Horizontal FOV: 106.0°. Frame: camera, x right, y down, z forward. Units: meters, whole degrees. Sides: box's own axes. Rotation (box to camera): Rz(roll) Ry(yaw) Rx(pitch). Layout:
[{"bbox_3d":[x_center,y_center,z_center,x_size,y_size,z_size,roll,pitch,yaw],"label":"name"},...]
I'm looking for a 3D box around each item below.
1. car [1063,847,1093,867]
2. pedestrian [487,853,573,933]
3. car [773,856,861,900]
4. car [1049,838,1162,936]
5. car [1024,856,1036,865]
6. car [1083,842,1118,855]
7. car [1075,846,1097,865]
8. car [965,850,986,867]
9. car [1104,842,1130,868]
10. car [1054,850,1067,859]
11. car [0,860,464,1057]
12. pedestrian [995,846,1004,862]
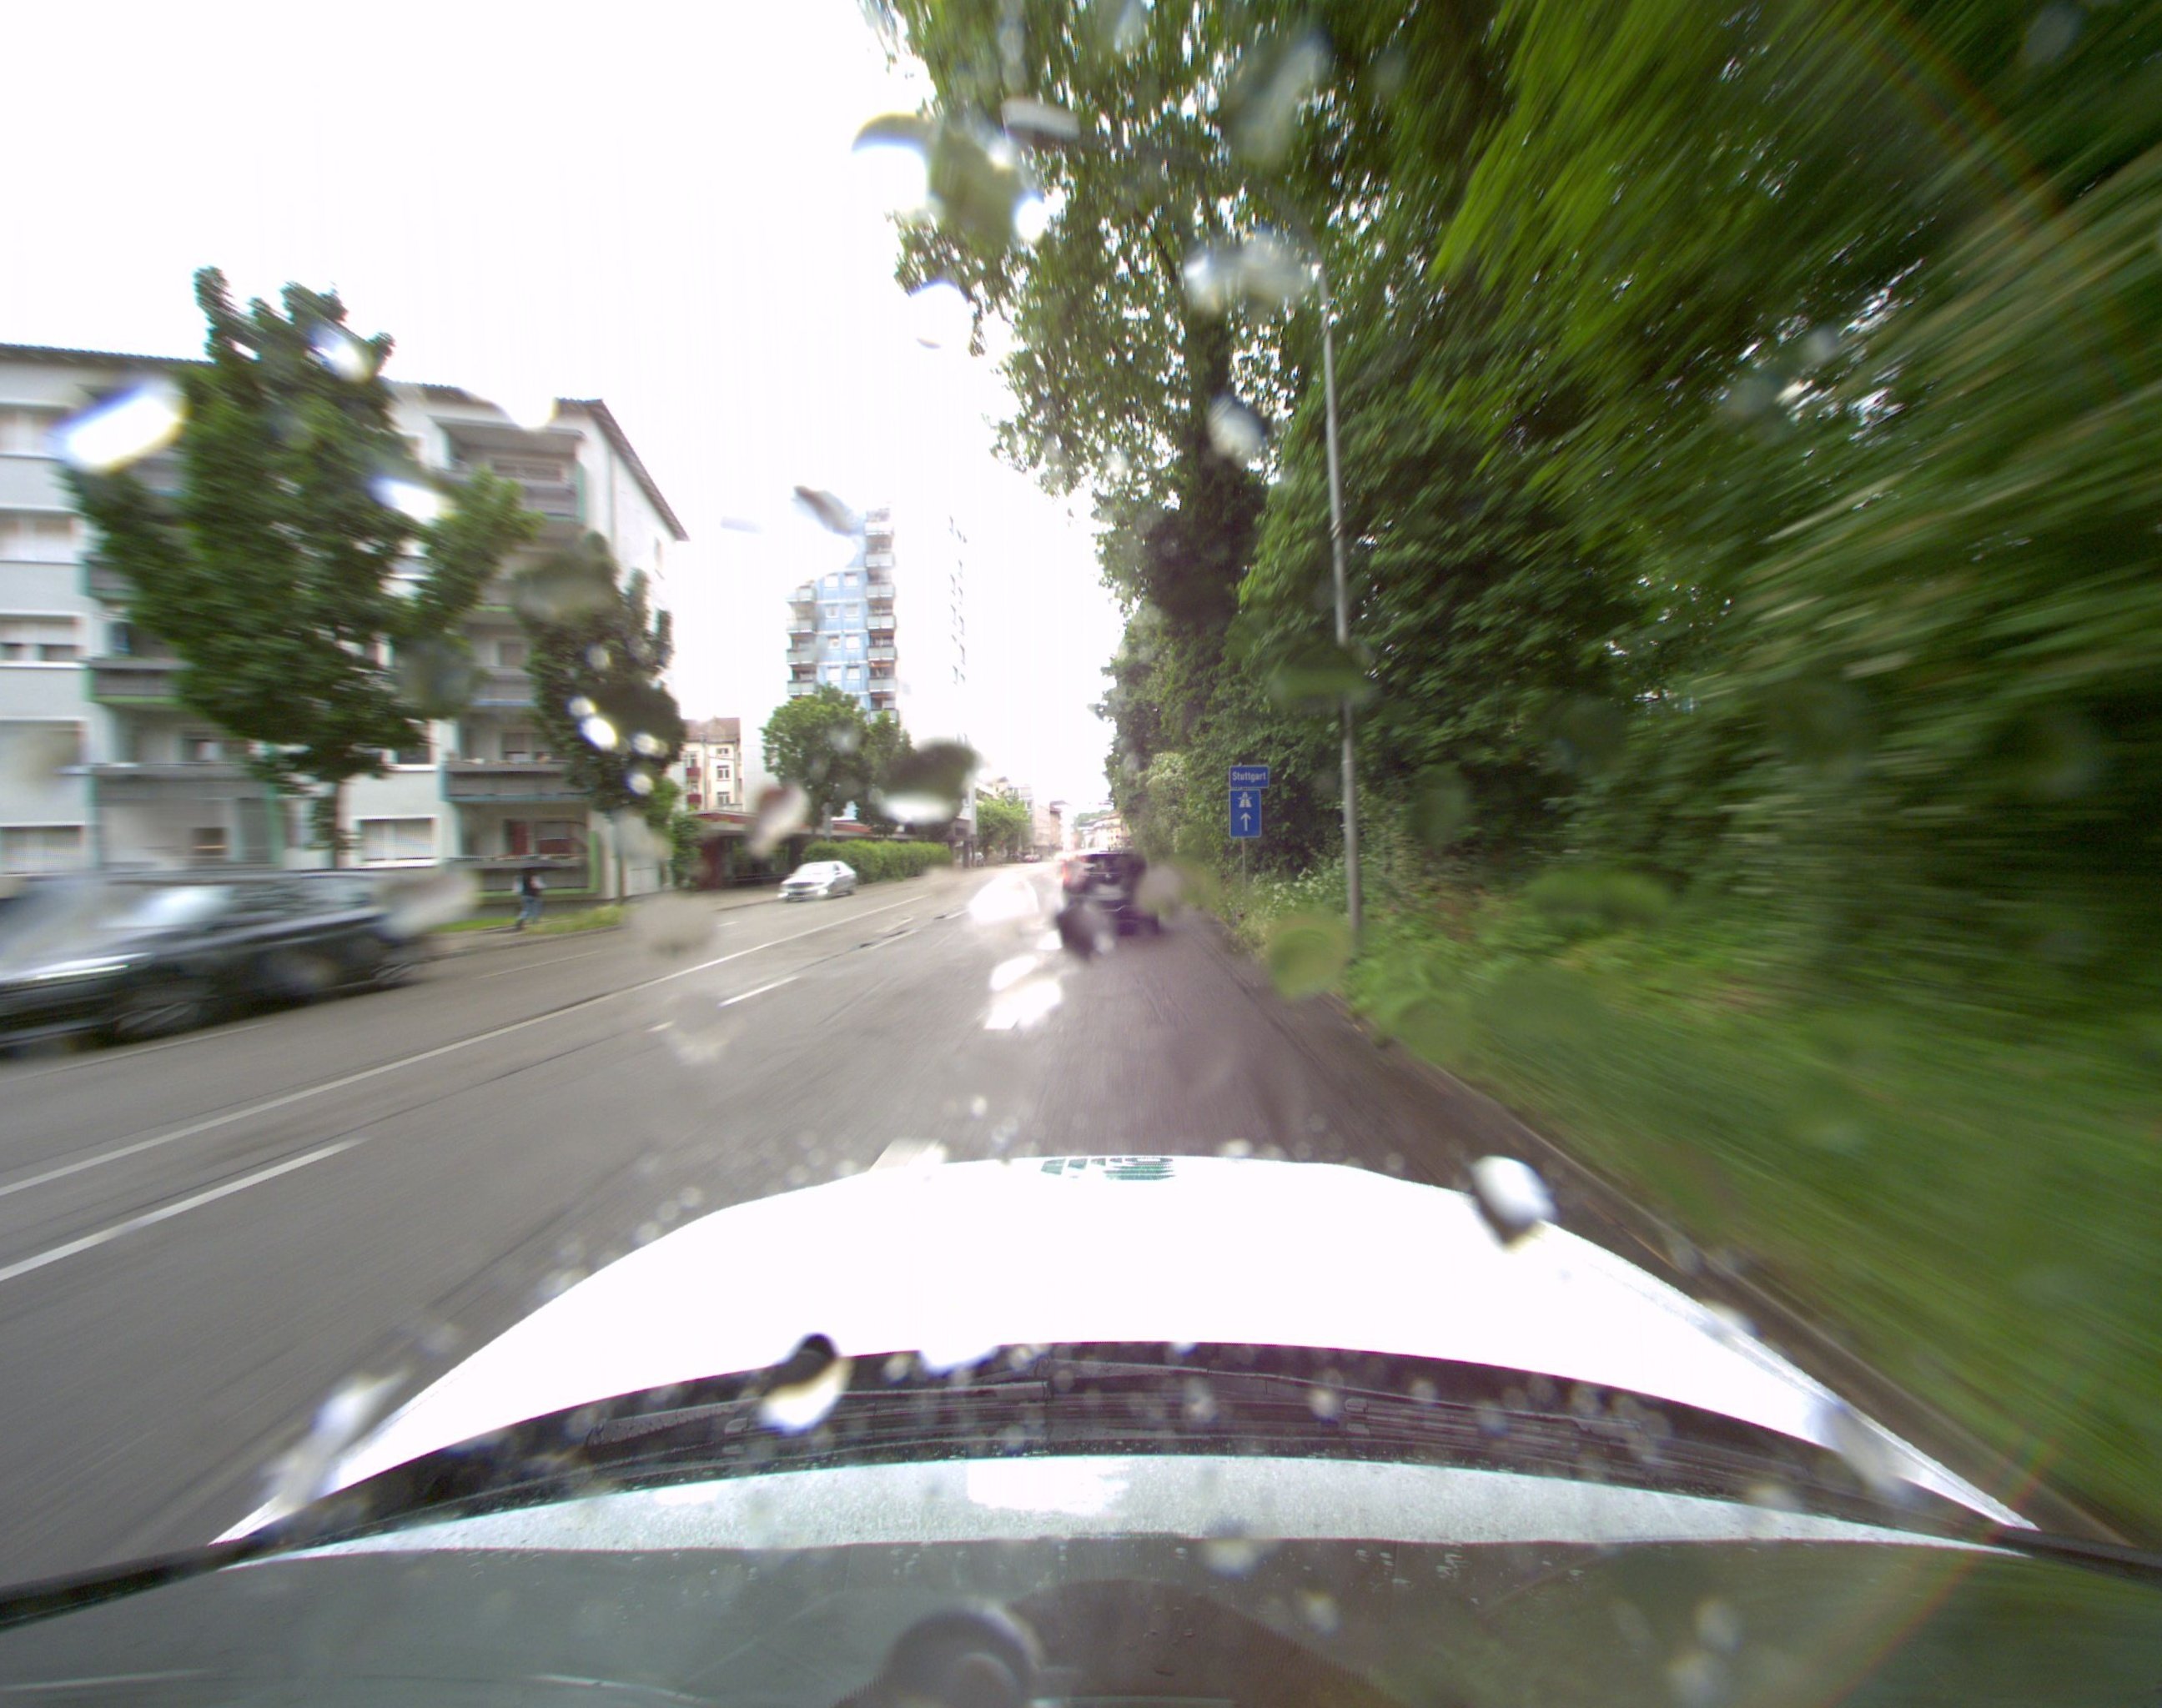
[{"bbox_3d":[-0.204,0.188,63.421,2.058,1.464,4.590,-2,0,3],"label":"car"},{"bbox_3d":[-13.100,0.899,19.418,1.131,1.804,1.262,-2,0,-2],"label":"pedestrian"},{"bbox_3d":[-9.940,0.867,31.107,1.869,1.390,4.624,-4,1,-2],"label":"car"},{"bbox_3d":[0.483,0.541,16.434,1.953,1.652,4.001,-2,1,1],"label":"car"},{"bbox_3d":[-9.038,1.067,144.547,1.667,1.478,3.608,-3,0,1],"label":"car"},{"bbox_3d":[2.671,-0.769,112.524,4.835,1.750,1.976,-3,1,-43],"label":"car"},{"bbox_3d":[0.446,0.121,70.732,1.737,1.487,4.164,-2,0,2],"label":"car"},{"bbox_3d":[-11.177,0.465,86.554,1.533,1.706,4.290,-1,0,3],"label":"car"},{"bbox_3d":[2.933,0.061,66.284,1.985,2.013,4.003,-2,0,2],"label":"car"},{"bbox_3d":[-3.589,0.137,141.117,1.990,1.453,3.993,-2,0,-5],"label":"car"},{"bbox_3d":[-9.706,0.961,9.307,1.869,1.602,4.462,-4,1,-2],"label":"car"},{"bbox_3d":[-10.161,-0.030,101.548,0.939,2.013,0.884,-2,0,-7],"label":"pedestrian"}]
